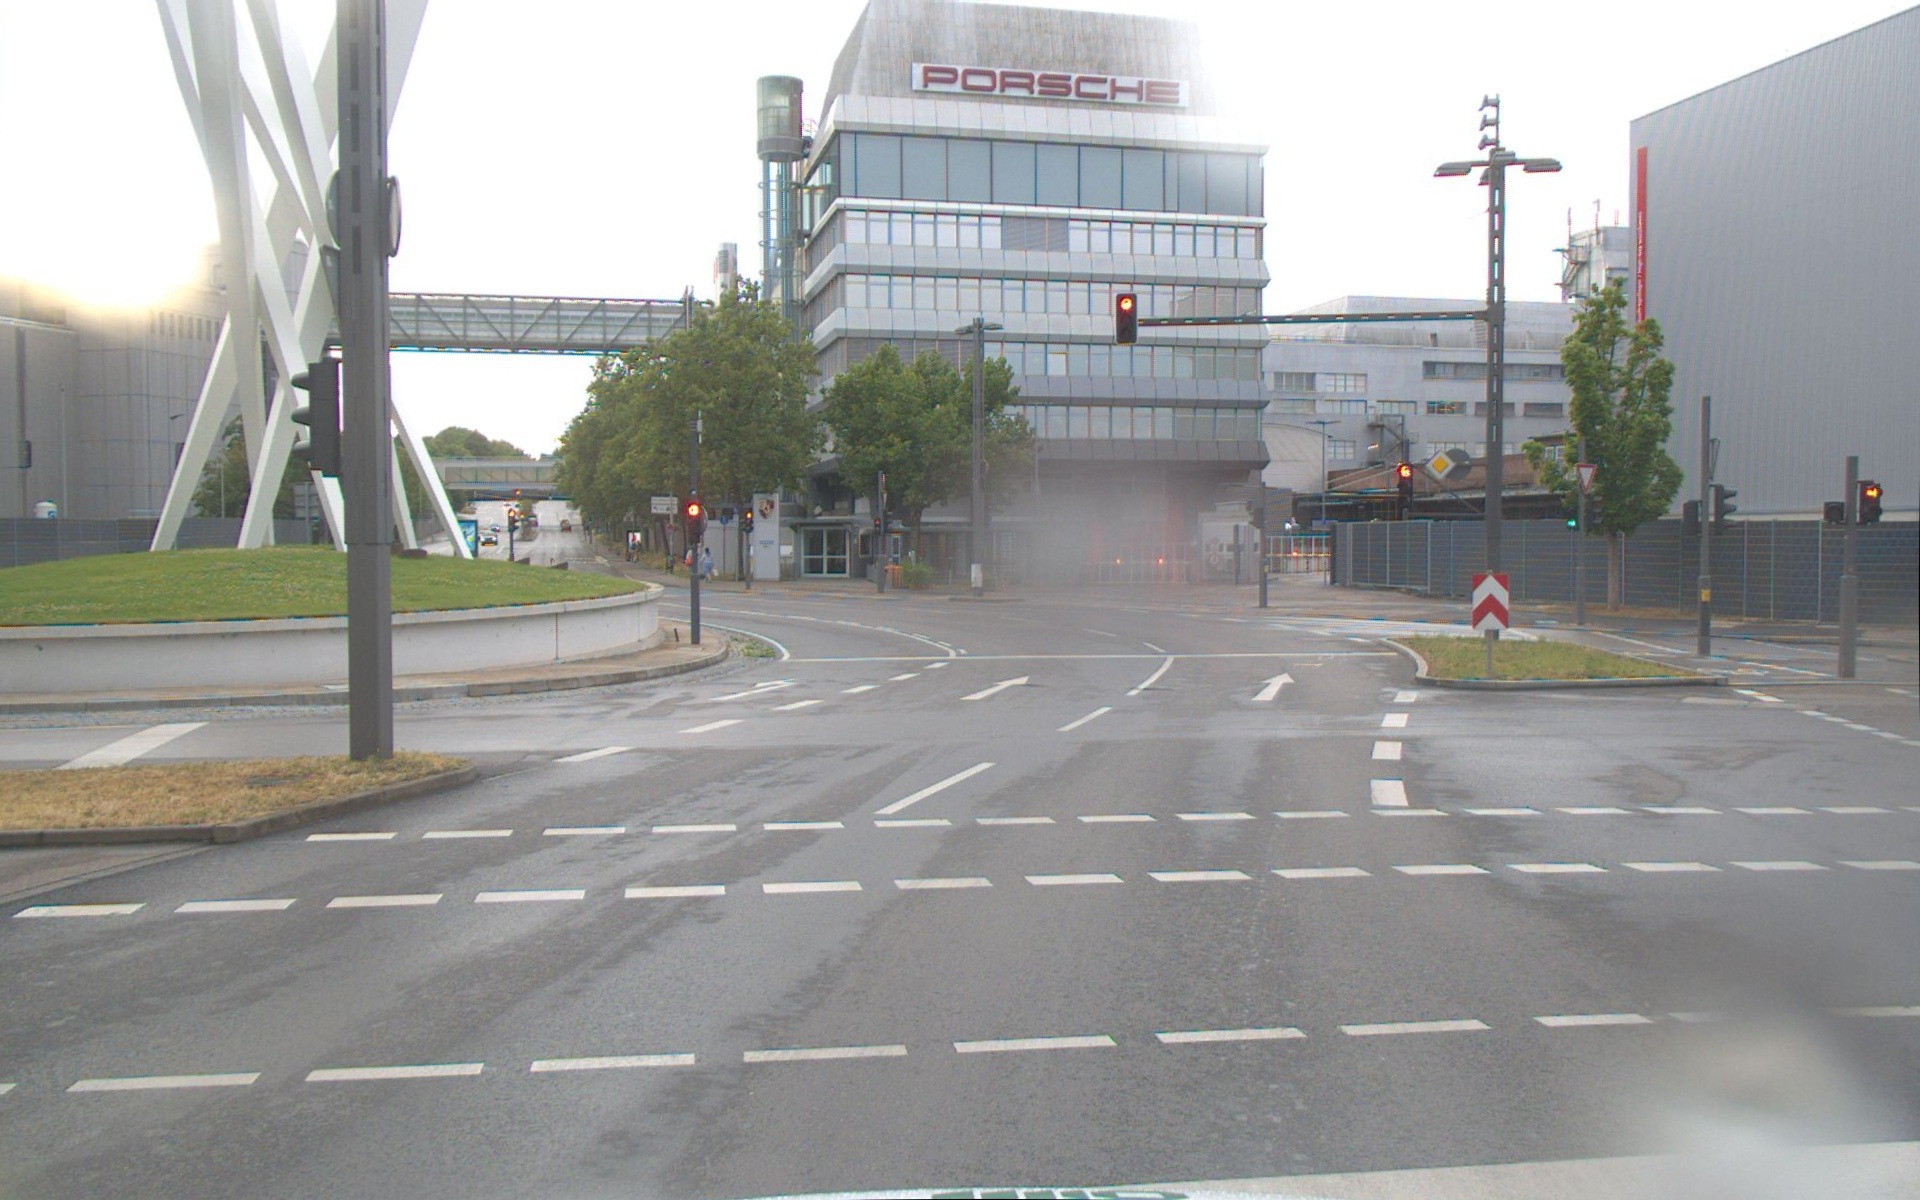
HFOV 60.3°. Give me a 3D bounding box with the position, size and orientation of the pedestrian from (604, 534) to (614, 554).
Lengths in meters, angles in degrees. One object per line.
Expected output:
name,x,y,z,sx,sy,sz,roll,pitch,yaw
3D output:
pedestrian,-35.122,-5.621,165.531,0.749,2.049,0.693,0,1,3

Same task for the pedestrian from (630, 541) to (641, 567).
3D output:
pedestrian,-22.970,-3.233,116.923,0.699,1.770,0.757,1,-1,-14

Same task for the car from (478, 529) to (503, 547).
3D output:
car,-57.399,-7.539,202.399,1.953,2.049,3.999,1,0,-1

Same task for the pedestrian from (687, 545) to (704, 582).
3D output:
pedestrian,-11.665,-1.632,72.998,0.696,1.619,0.839,-1,2,-10

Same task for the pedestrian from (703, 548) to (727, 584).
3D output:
pedestrian,-10.689,-1.508,72.166,0.821,1.547,0.835,-1,2,-25
